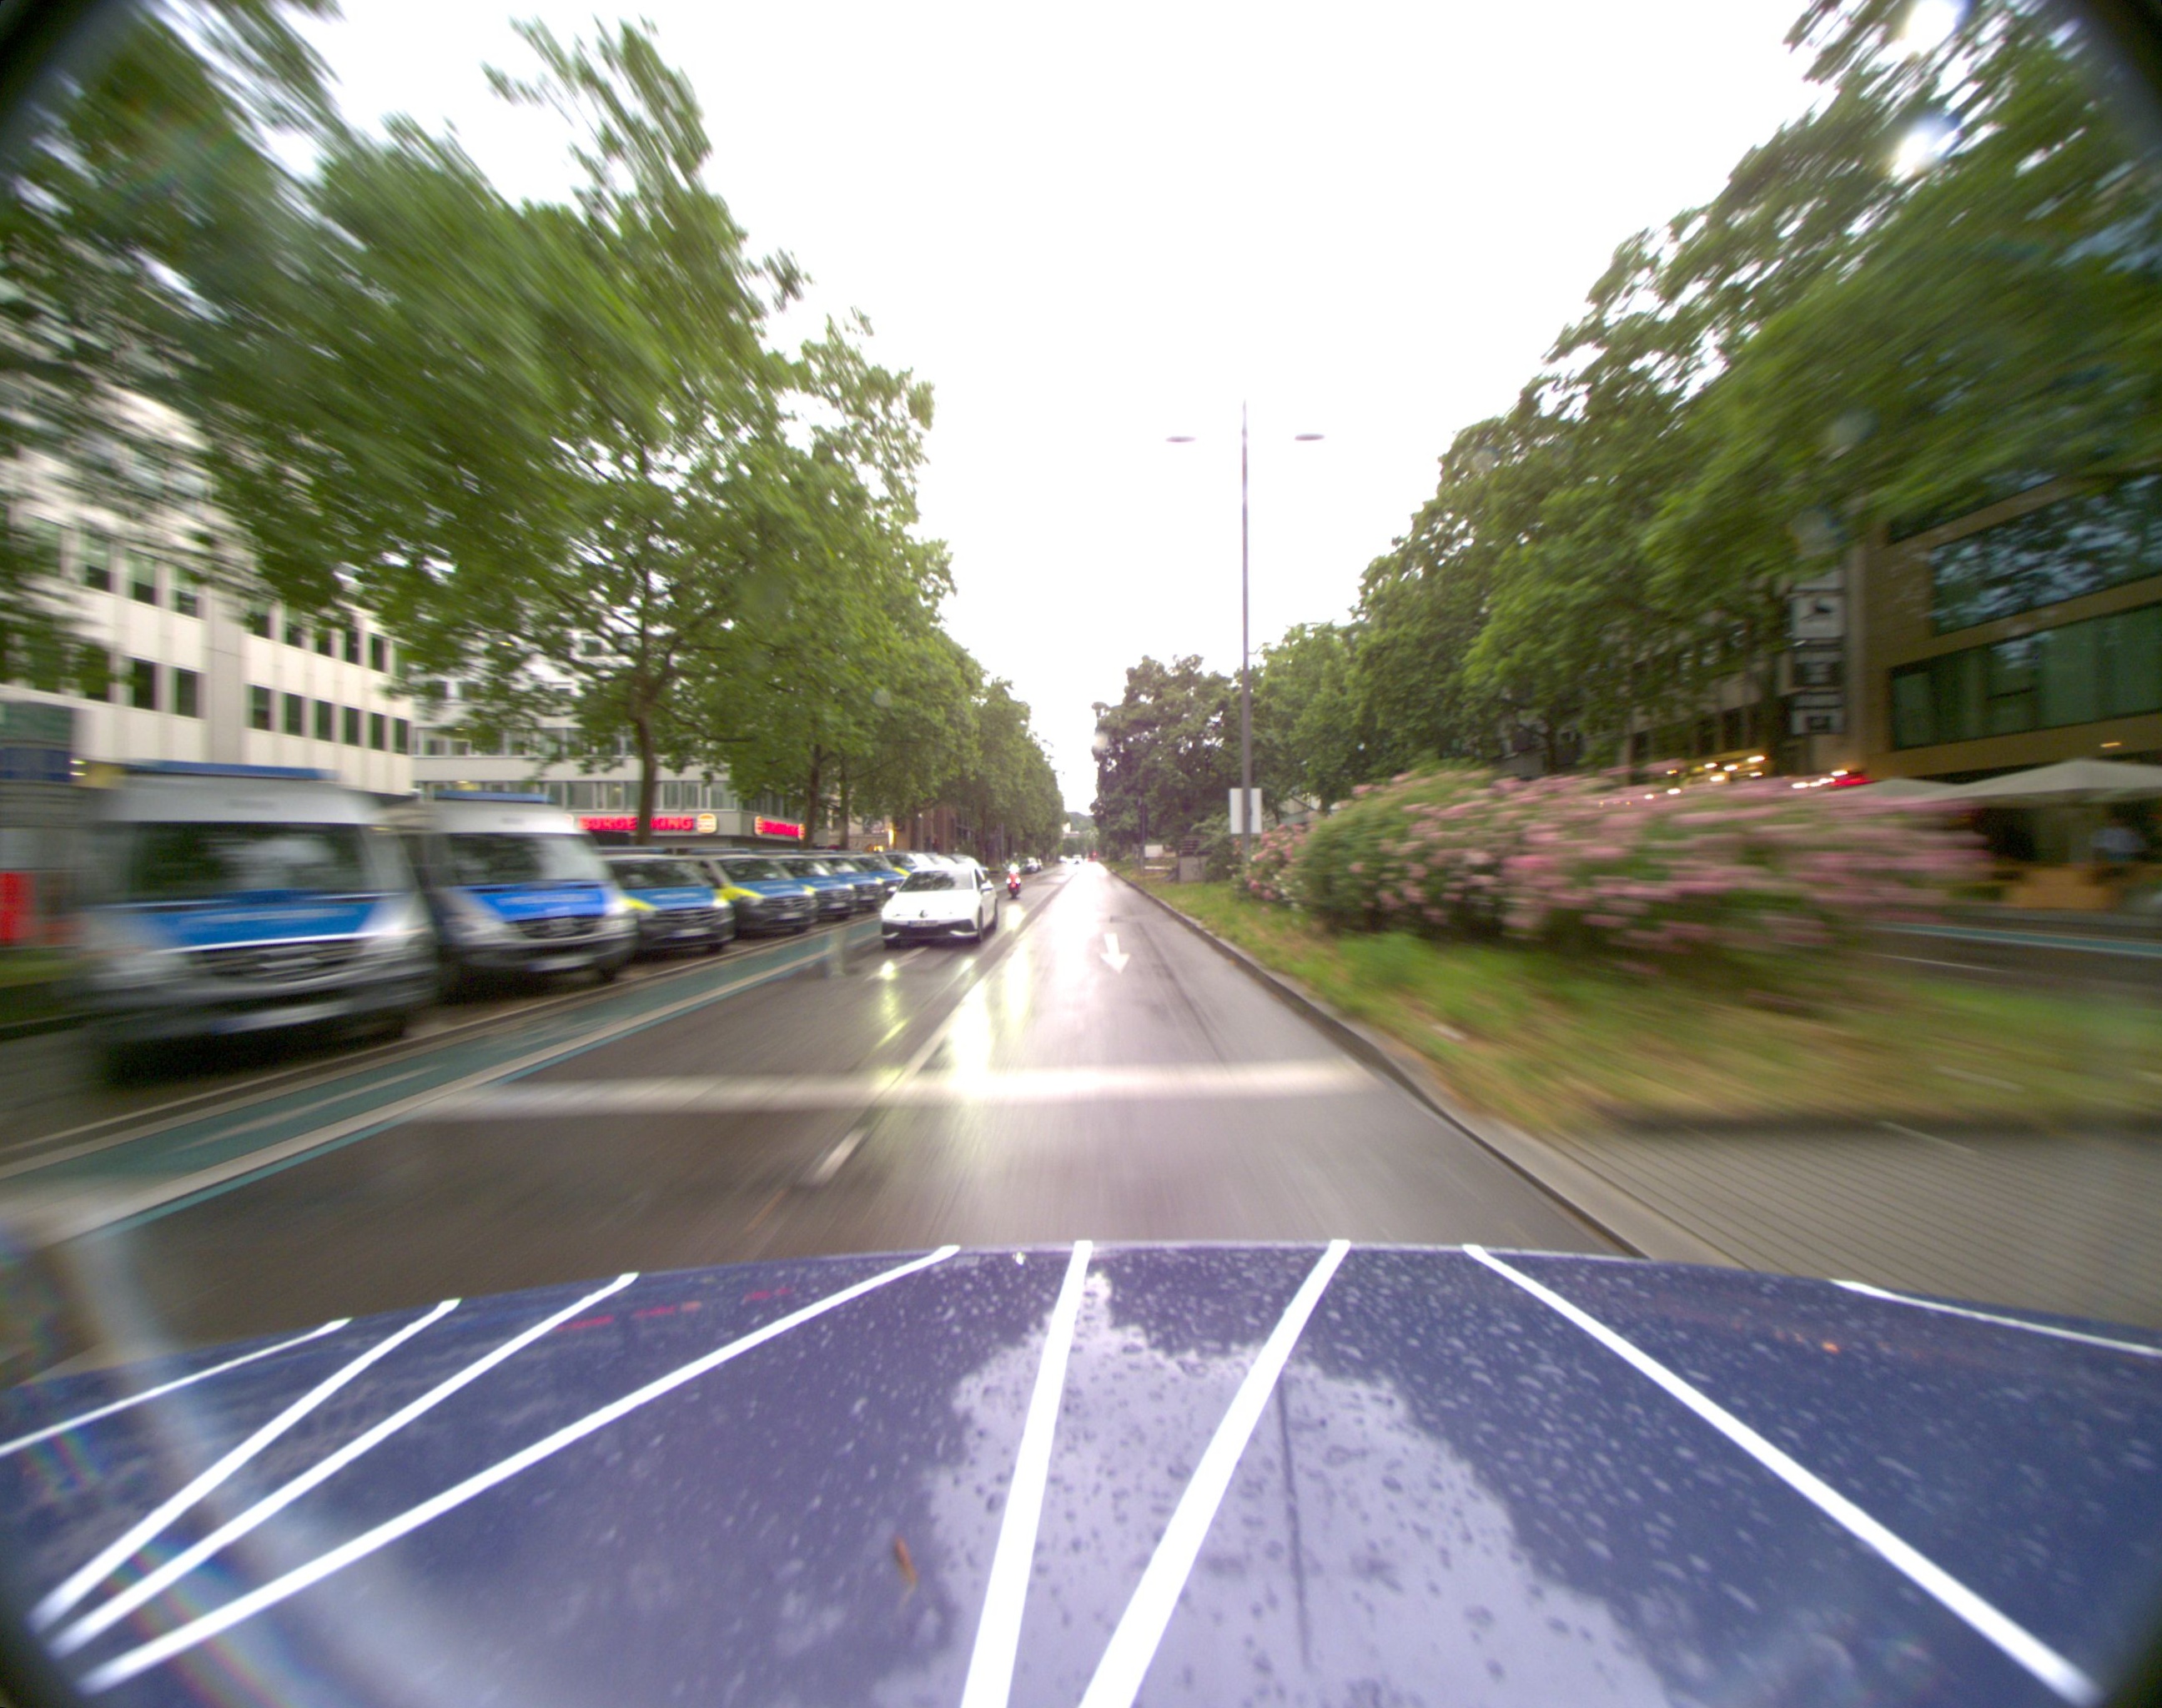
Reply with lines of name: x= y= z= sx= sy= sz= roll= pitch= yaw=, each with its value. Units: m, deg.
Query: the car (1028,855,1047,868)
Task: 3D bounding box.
car: x=-5.126 y=0.885 z=90.200 sx=1.747 sy=1.424 sz=4.586 roll=-2 pitch=0 yaw=1

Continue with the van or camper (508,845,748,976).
van or camper: x=-8.531 y=0.894 z=14.146 sx=5.002 sy=2.002 sz=2.004 roll=0 pitch=2 yaw=37

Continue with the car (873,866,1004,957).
car: x=-2.683 y=1.033 z=15.353 sx=1.866 sy=1.436 sz=4.508 roll=-2 pitch=0 yaw=-1

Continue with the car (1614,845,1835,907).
car: x=16.672 y=0.516 z=20.064 sx=1.998 sy=1.362 sz=4.540 roll=-3 pitch=0 yaw=1

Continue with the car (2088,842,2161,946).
car: x=16.639 y=0.572 z=9.535 sx=1.999 sy=1.500 sz=4.517 roll=0 pitch=0 yaw=-1

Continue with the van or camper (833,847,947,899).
van or camper: x=-8.008 y=0.768 z=31.672 sx=4.781 sy=1.999 sz=2.004 roll=-1 pitch=1 yaw=37

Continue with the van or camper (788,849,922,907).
van or camper: x=-8.513 y=0.852 z=28.435 sx=5.010 sy=1.984 sz=2.004 roll=-1 pitch=1 yaw=34

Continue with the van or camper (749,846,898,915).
van or camper: x=-8.404 y=0.812 z=24.606 sx=5.093 sy=2.013 sz=2.110 roll=-1 pitch=0 yaw=39

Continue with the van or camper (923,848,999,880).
van or camper: x=-7.757 y=0.661 z=49.008 sx=4.933 sy=1.980 sz=2.006 roll=-2 pitch=1 yaw=39

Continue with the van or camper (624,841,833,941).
van or camper: x=-8.277 y=0.800 z=17.645 sx=5.195 sy=1.981 sz=2.004 roll=-2 pitch=1 yaw=36

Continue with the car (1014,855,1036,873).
car: x=-5.422 y=0.922 z=74.298 sx=1.797 sy=1.593 sz=4.423 roll=-2 pitch=0 yaw=0

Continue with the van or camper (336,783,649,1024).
van or camper: x=-8.643 y=0.564 z=10.919 sx=5.795 sy=2.665 sz=2.004 roll=-1 pitch=1 yaw=36

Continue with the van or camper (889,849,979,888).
van or camper: x=-8.224 y=0.833 z=42.359 sx=5.074 sy=2.007 sz=2.001 roll=-2 pitch=0 yaw=38

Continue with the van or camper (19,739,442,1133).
van or camper: x=-8.702 y=0.583 z=7.766 sx=5.799 sy=2.662 sz=2.152 roll=-1 pitch=1 yaw=38

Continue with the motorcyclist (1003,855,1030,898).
motorcyclist: x=-2.501 y=0.865 z=29.400 sx=0.850 sy=1.635 sz=0.870 roll=-2 pitch=1 yaw=-17

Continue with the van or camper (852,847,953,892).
van or camper: x=-8.367 y=0.707 z=35.406 sx=4.841 sy=1.986 sz=1.871 roll=-1 pitch=1 yaw=38

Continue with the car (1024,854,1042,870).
car: x=-4.994 y=0.813 z=79.455 sx=1.756 sy=1.576 sz=4.409 roll=-2 pitch=0 yaw=-3

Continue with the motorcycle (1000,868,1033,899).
motorcycle: x=-2.531 y=1.129 z=29.533 sx=0.869 sy=1.136 sz=2.019 roll=-2 pitch=0 yaw=-17
